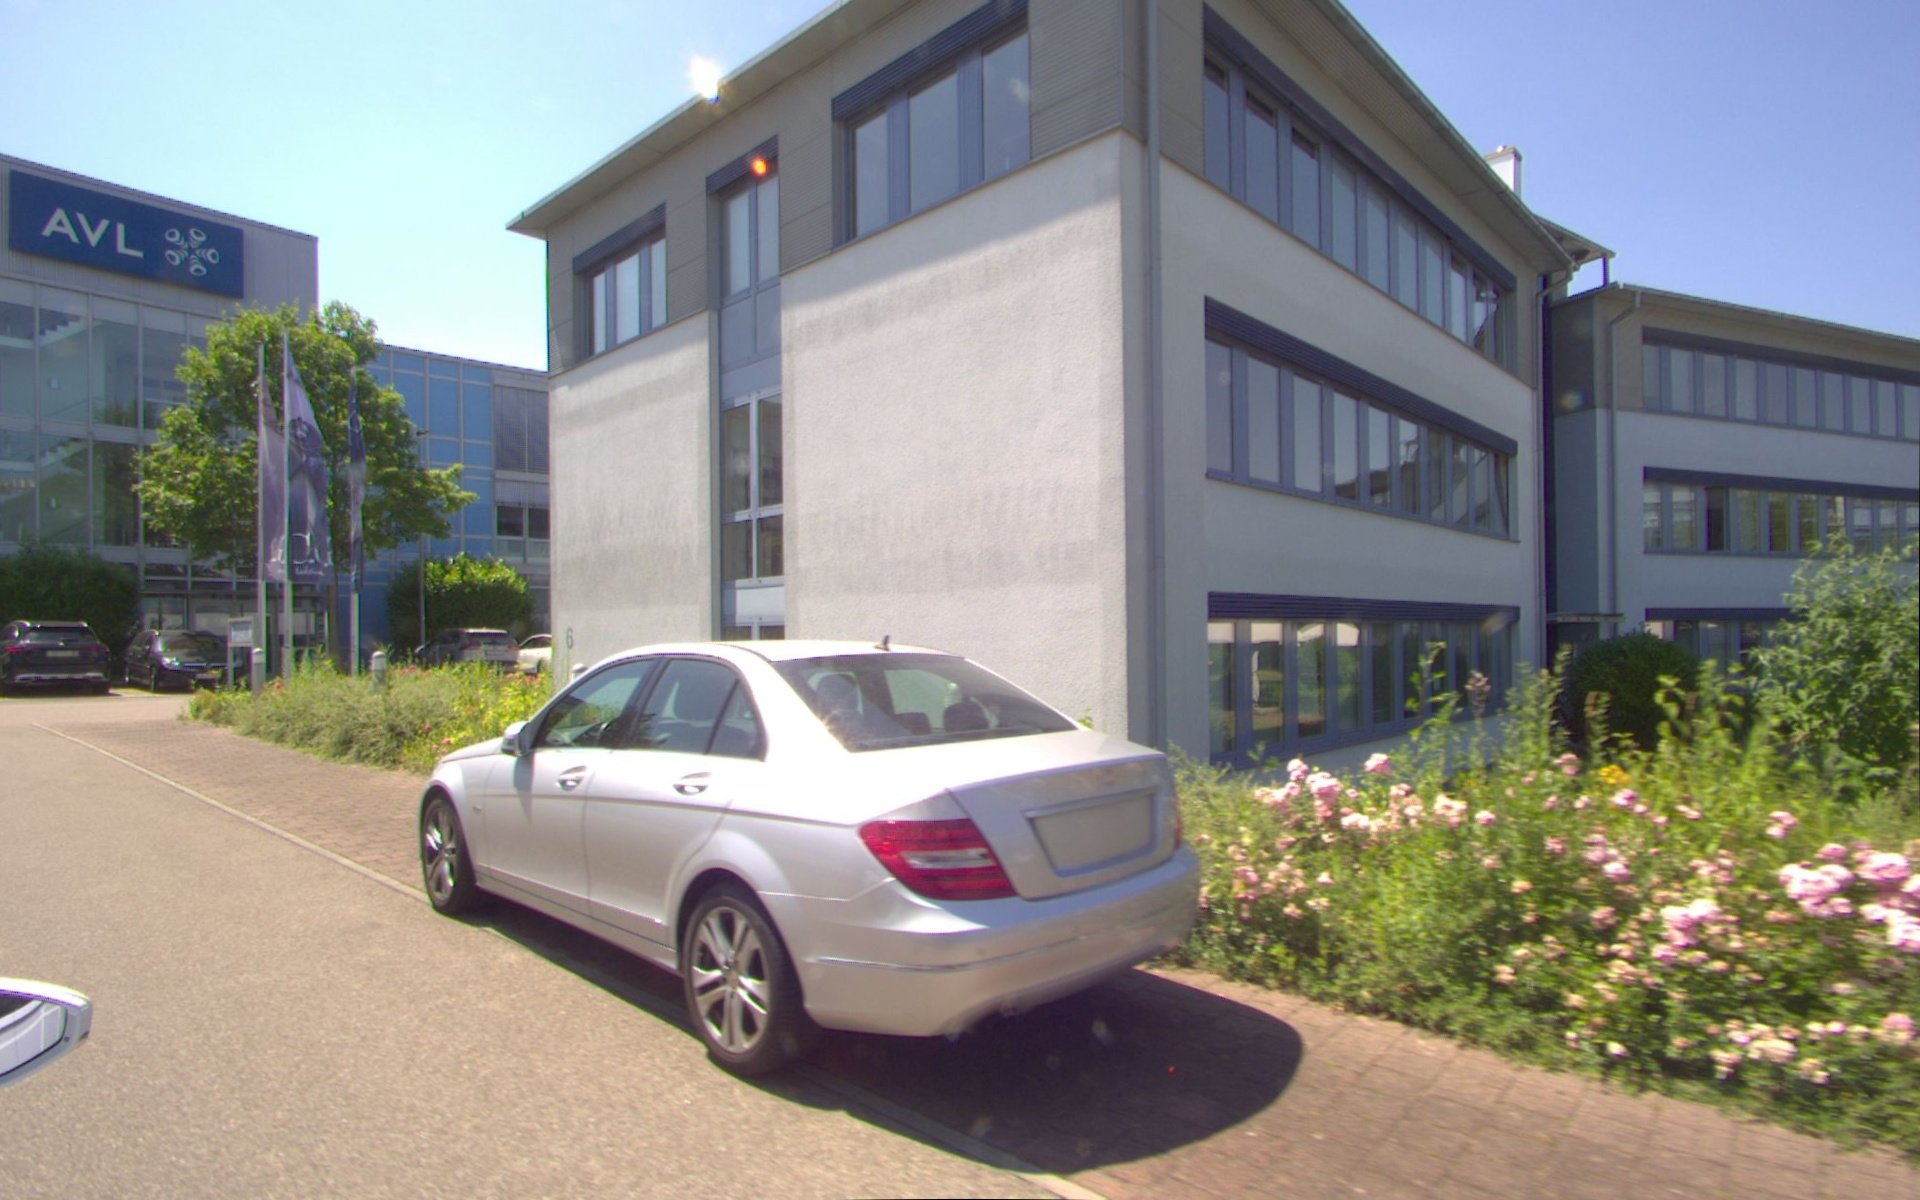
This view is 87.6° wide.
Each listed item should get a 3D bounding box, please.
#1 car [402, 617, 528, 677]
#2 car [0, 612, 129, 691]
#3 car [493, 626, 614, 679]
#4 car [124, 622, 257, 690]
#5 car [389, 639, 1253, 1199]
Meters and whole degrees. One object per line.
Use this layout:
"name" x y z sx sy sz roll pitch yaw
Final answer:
"car" -14.958 1.361 30.164 4.287 1.641 1.812 0 -1 40
"car" -20.808 1.137 23.012 3.938 1.631 1.920 0 -2 40
"car" -13.002 1.648 31.920 4.287 1.510 1.729 0 -2 40
"car" -19.298 1.332 25.049 4.207 1.501 1.762 0 -1 40
"car" -1.043 0.903 4.759 4.374 1.416 1.789 -2 -2 44
